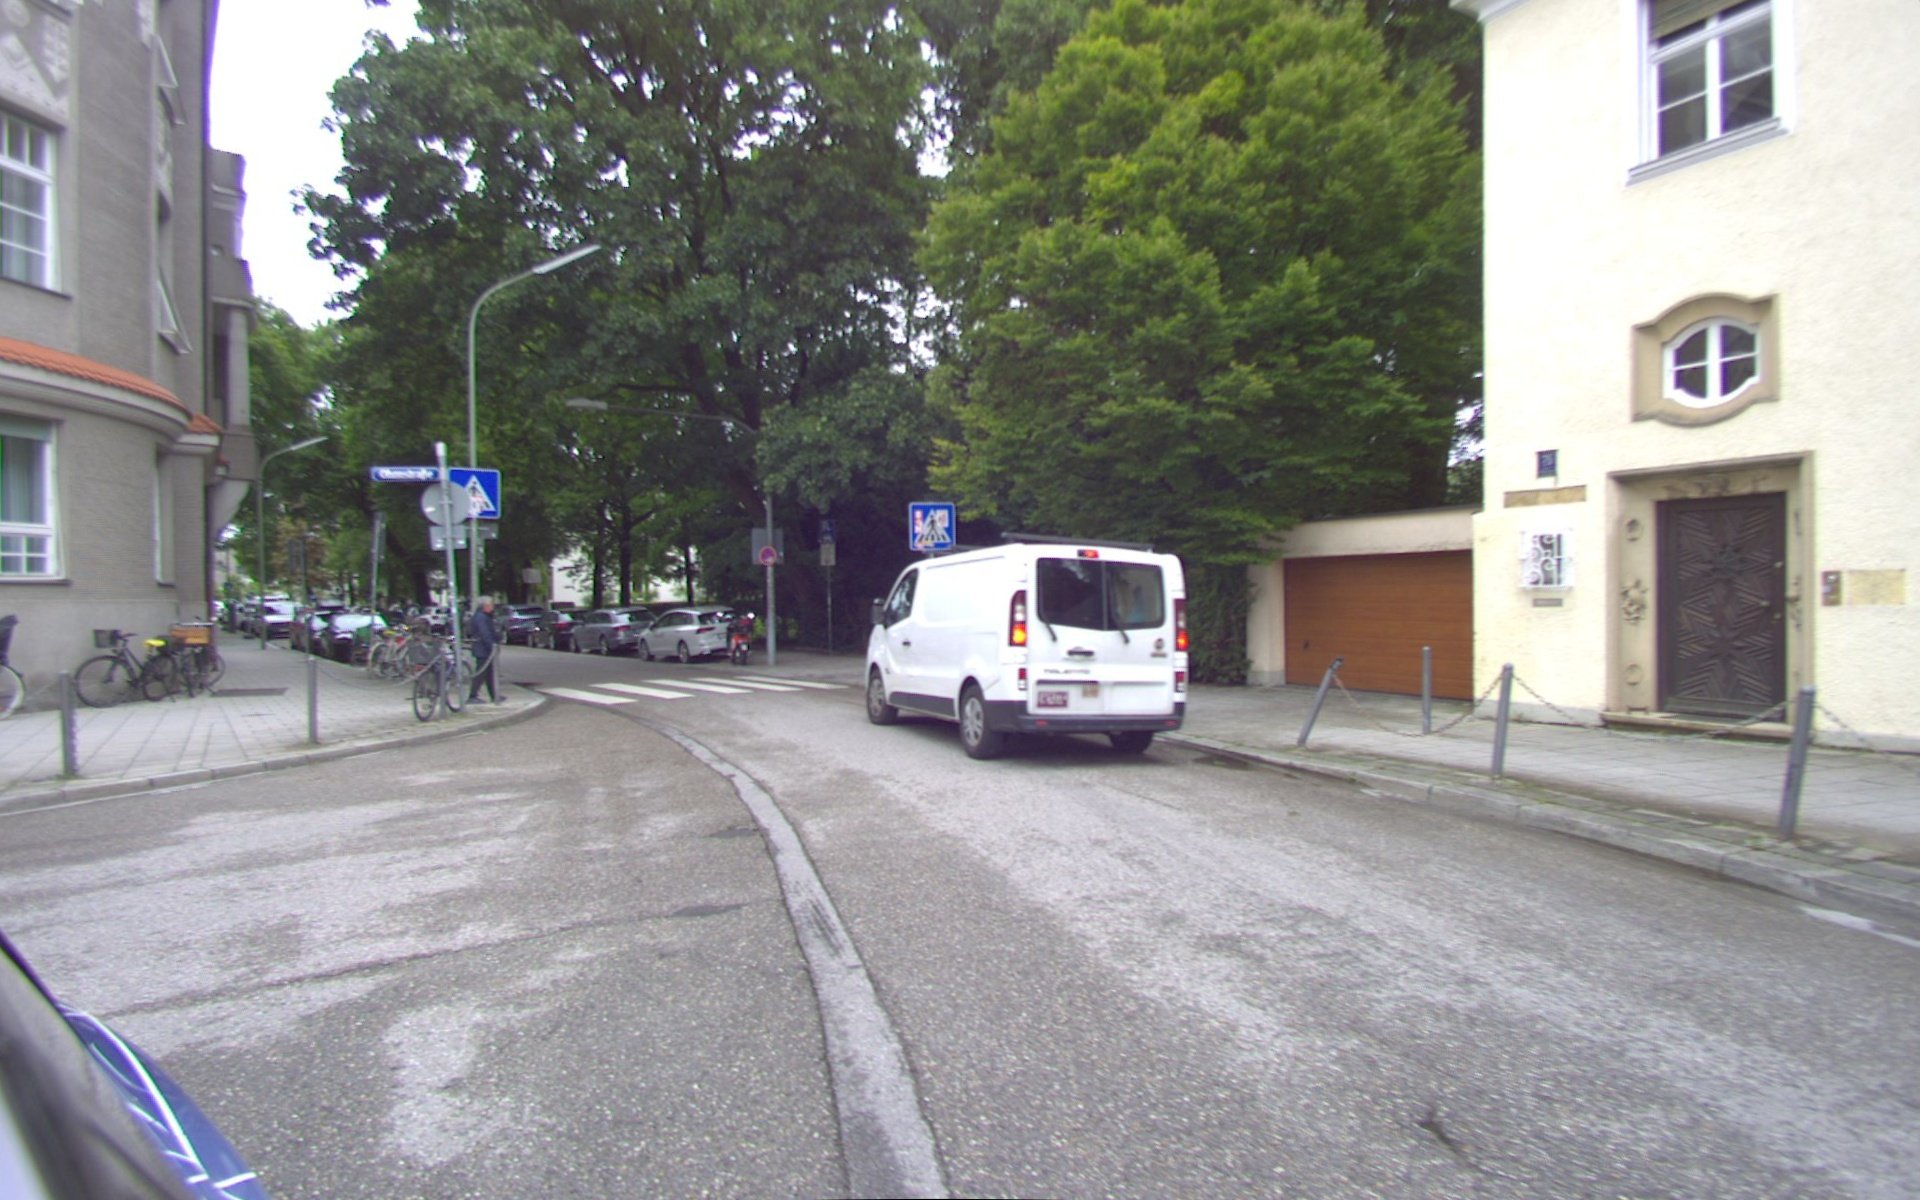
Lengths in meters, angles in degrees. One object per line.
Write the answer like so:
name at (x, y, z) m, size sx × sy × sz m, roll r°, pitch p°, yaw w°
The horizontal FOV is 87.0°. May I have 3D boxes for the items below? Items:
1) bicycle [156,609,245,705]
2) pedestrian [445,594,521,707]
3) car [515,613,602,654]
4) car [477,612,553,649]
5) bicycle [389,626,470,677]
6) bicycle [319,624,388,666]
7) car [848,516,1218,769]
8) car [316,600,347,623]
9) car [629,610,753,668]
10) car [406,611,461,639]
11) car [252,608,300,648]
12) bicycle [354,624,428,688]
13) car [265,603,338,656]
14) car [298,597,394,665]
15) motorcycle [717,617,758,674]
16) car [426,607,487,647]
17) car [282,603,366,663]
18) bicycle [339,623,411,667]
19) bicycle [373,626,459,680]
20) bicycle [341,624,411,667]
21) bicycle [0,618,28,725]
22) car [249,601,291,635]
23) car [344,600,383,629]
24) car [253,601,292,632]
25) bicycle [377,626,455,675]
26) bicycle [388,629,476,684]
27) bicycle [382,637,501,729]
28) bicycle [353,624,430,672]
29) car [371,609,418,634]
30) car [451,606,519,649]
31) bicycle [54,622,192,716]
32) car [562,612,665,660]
bicycle at (-12.269, 0.878, 16.406) m, size 0.725 × 1.424 × 1.933 m, roll 0°, pitch 0°, yaw -23°
pedestrian at (-7.165, 0.742, 15.230) m, size 0.717 × 1.654 × 0.812 m, roll 0°, pitch 0°, yaw 5°
car at (-15.107, 1.214, 37.991) m, size 1.749 × 1.443 × 4.524 m, roll 0°, pitch -1°, yaw -39°
car at (-18.528, 1.244, 42.029) m, size 1.749 × 1.443 × 4.524 m, roll 0°, pitch -1°, yaw -39°
bicycle at (-12.679, 1.230, 24.214) m, size 1.655 × 1.156 × 0.513 m, roll 0°, pitch 0°, yaw -20°
bicycle at (-17.588, 1.288, 29.381) m, size 1.655 × 1.156 × 0.513 m, roll 0°, pitch 0°, yaw -20°
car at (0.431, 0.396, 10.897) m, size 2.011 × 2.057 × 4.974 m, roll 2°, pitch -1°, yaw -21°
car at (-55.427, 1.011, 89.234) m, size 1.967 × 1.966 × 4.672 m, roll 0°, pitch 0°, yaw -36°
car at (-7.531, 1.031, 28.068) m, size 1.599 × 1.460 × 4.442 m, roll 0°, pitch -1°, yaw -40°
car at (-28.386, 1.342, 54.469) m, size 1.749 × 1.443 × 4.524 m, roll 0°, pitch -1°, yaw -39°
car at (-35.824, 1.405, 52.956) m, size 1.967 × 1.966 × 4.672 m, roll 0°, pitch 0°, yaw -36°
bicycle at (-11.134, 1.065, 19.857) m, size 0.505 × 1.156 × 1.684 m, roll 0°, pitch 0°, yaw 1°
car at (-26.380, 1.123, 40.462) m, size 1.968 × 1.966 × 4.669 m, roll 0°, pitch 0°, yaw -39°
car at (-19.428, 0.898, 31.944) m, size 1.968 × 1.966 × 4.669 m, roll 0°, pitch 0°, yaw -39°
motorcycle at (-5.281, 1.058, 24.112) m, size 0.845 × 1.192 × 2.011 m, roll -4°, pitch 1°, yaw -12°
car at (-25.079, 1.317, 50.350) m, size 1.749 × 1.849 × 4.524 m, roll 0°, pitch -1°, yaw -39°
car at (-22.657, 1.104, 35.983) m, size 1.968 × 1.966 × 4.669 m, roll 0°, pitch 0°, yaw -39°
bicycle at (-16.114, 1.244, 27.922) m, size 1.655 × 1.156 × 0.513 m, roll 0°, pitch 0°, yaw -20°
bicycle at (-12.247, 1.172, 22.817) m, size 1.655 × 1.156 × 0.467 m, roll 0°, pitch 0°, yaw -20°
bicycle at (-16.526, 1.286, 28.652) m, size 1.655 × 1.156 × 0.513 m, roll 0°, pitch 0°, yaw -20°
bicycle at (-11.977, 0.855, 11.502) m, size 0.733 × 1.265 × 1.911 m, roll 0°, pitch 0°, yaw 23°
car at (-41.219, 1.040, 60.448) m, size 1.967 × 1.966 × 4.672 m, roll 0°, pitch 0°, yaw -36°
car at (-41.864, 1.006, 70.984) m, size 1.967 × 1.966 × 4.672 m, roll 0°, pitch 0°, yaw -36°
car at (-45.334, 1.039, 66.686) m, size 1.967 × 1.966 × 4.672 m, roll 0°, pitch 0°, yaw -36°
bicycle at (-13.582, 1.250, 25.298) m, size 1.655 × 1.156 × 0.513 m, roll 0°, pitch 0°, yaw -20°
bicycle at (-11.671, 1.234, 22.412) m, size 1.679 × 1.156 × 0.513 m, roll 0°, pitch 0°, yaw -20°
bicycle at (-6.684, 1.033, 13.163) m, size 0.505 × 1.018 × 2.007 m, roll 0°, pitch 0°, yaw 1°
bicycle at (-14.535, 1.212, 25.930) m, size 1.655 × 1.156 × 0.513 m, roll 0°, pitch 0°, yaw -20°
car at (-34.797, 1.325, 62.231) m, size 1.749 × 1.443 × 4.524 m, roll 0°, pitch -1°, yaw -39°
car at (-21.806, 1.236, 46.364) m, size 1.749 × 1.832 × 4.524 m, roll 0°, pitch -1°, yaw -39°
bicycle at (-11.718, 0.930, 14.255) m, size 0.556 × 1.165 × 1.930 m, roll 3°, pitch 0°, yaw -9°
car at (-11.500, 1.152, 33.374) m, size 1.749 × 1.443 × 4.524 m, roll 0°, pitch -1°, yaw -39°
